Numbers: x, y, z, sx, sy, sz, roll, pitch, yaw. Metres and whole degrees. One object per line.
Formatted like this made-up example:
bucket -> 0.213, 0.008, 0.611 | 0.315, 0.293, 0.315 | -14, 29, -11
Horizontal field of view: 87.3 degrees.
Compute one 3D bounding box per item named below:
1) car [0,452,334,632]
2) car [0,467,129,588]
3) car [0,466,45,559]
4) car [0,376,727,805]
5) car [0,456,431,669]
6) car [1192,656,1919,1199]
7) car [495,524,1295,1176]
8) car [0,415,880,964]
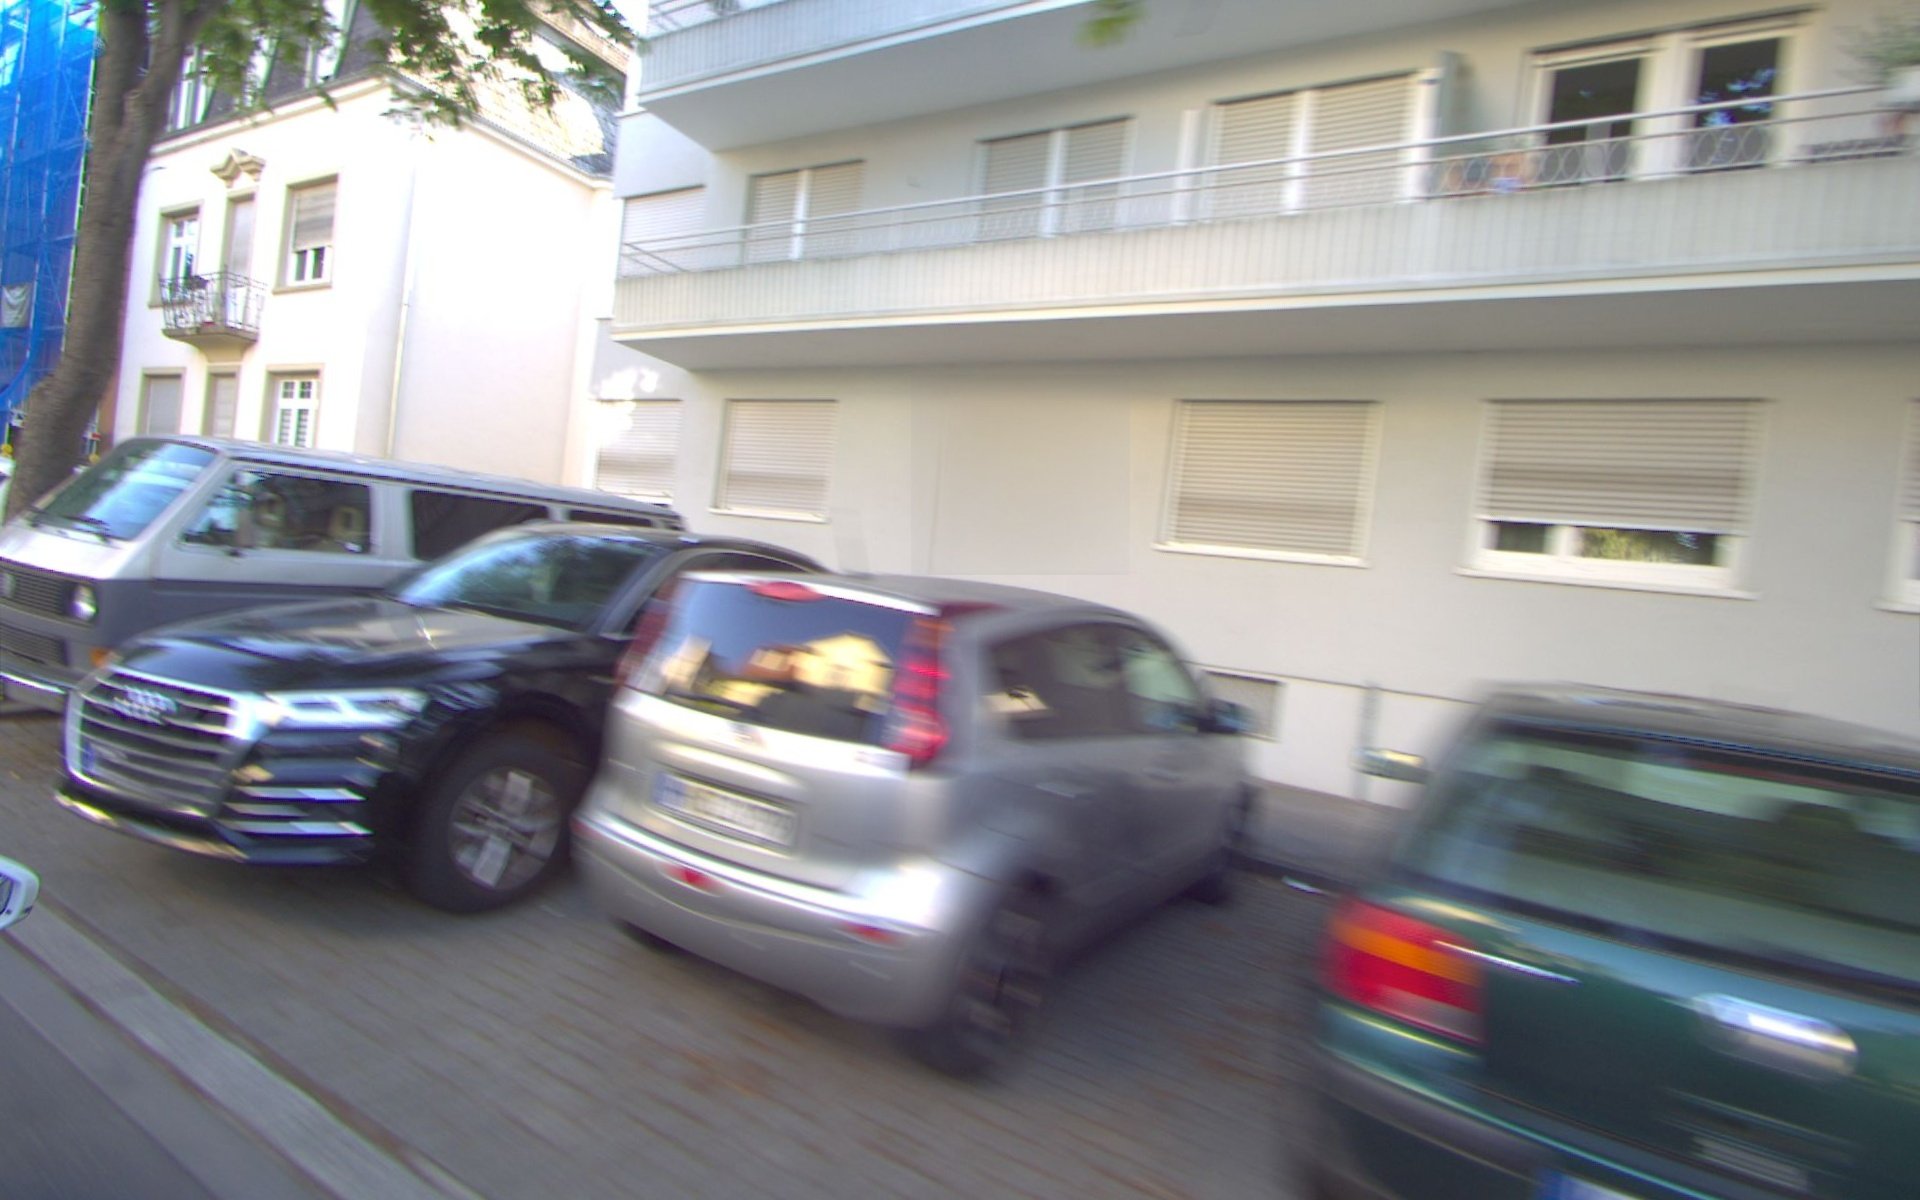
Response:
car -> -9.516, -0.626, 10.842 | 1.677, 1.705, 4.333 | 9, 3, 31
car -> -14.059, -1.110, 13.445 | 1.820, 1.560, 4.156 | 8, 3, 31
car -> -18.198, -1.659, 16.253 | 1.820, 1.556, 4.718 | 8, 3, 31
car -> -4.008, -0.024, 7.185 | 1.864, 2.039, 4.475 | 8, 1, 29
car -> -7.620, -0.336, 9.799 | 1.678, 1.705, 3.947 | 9, 3, 34
car -> 2.191, 1.009, 3.280 | 1.729, 1.449, 3.724 | 6, 1, 30
car -> 0.144, 0.709, 4.570 | 1.612, 1.574, 3.722 | 8, 1, 32
car -> -2.289, 0.310, 5.552 | 1.734, 1.745, 4.184 | 7, 1, 24
